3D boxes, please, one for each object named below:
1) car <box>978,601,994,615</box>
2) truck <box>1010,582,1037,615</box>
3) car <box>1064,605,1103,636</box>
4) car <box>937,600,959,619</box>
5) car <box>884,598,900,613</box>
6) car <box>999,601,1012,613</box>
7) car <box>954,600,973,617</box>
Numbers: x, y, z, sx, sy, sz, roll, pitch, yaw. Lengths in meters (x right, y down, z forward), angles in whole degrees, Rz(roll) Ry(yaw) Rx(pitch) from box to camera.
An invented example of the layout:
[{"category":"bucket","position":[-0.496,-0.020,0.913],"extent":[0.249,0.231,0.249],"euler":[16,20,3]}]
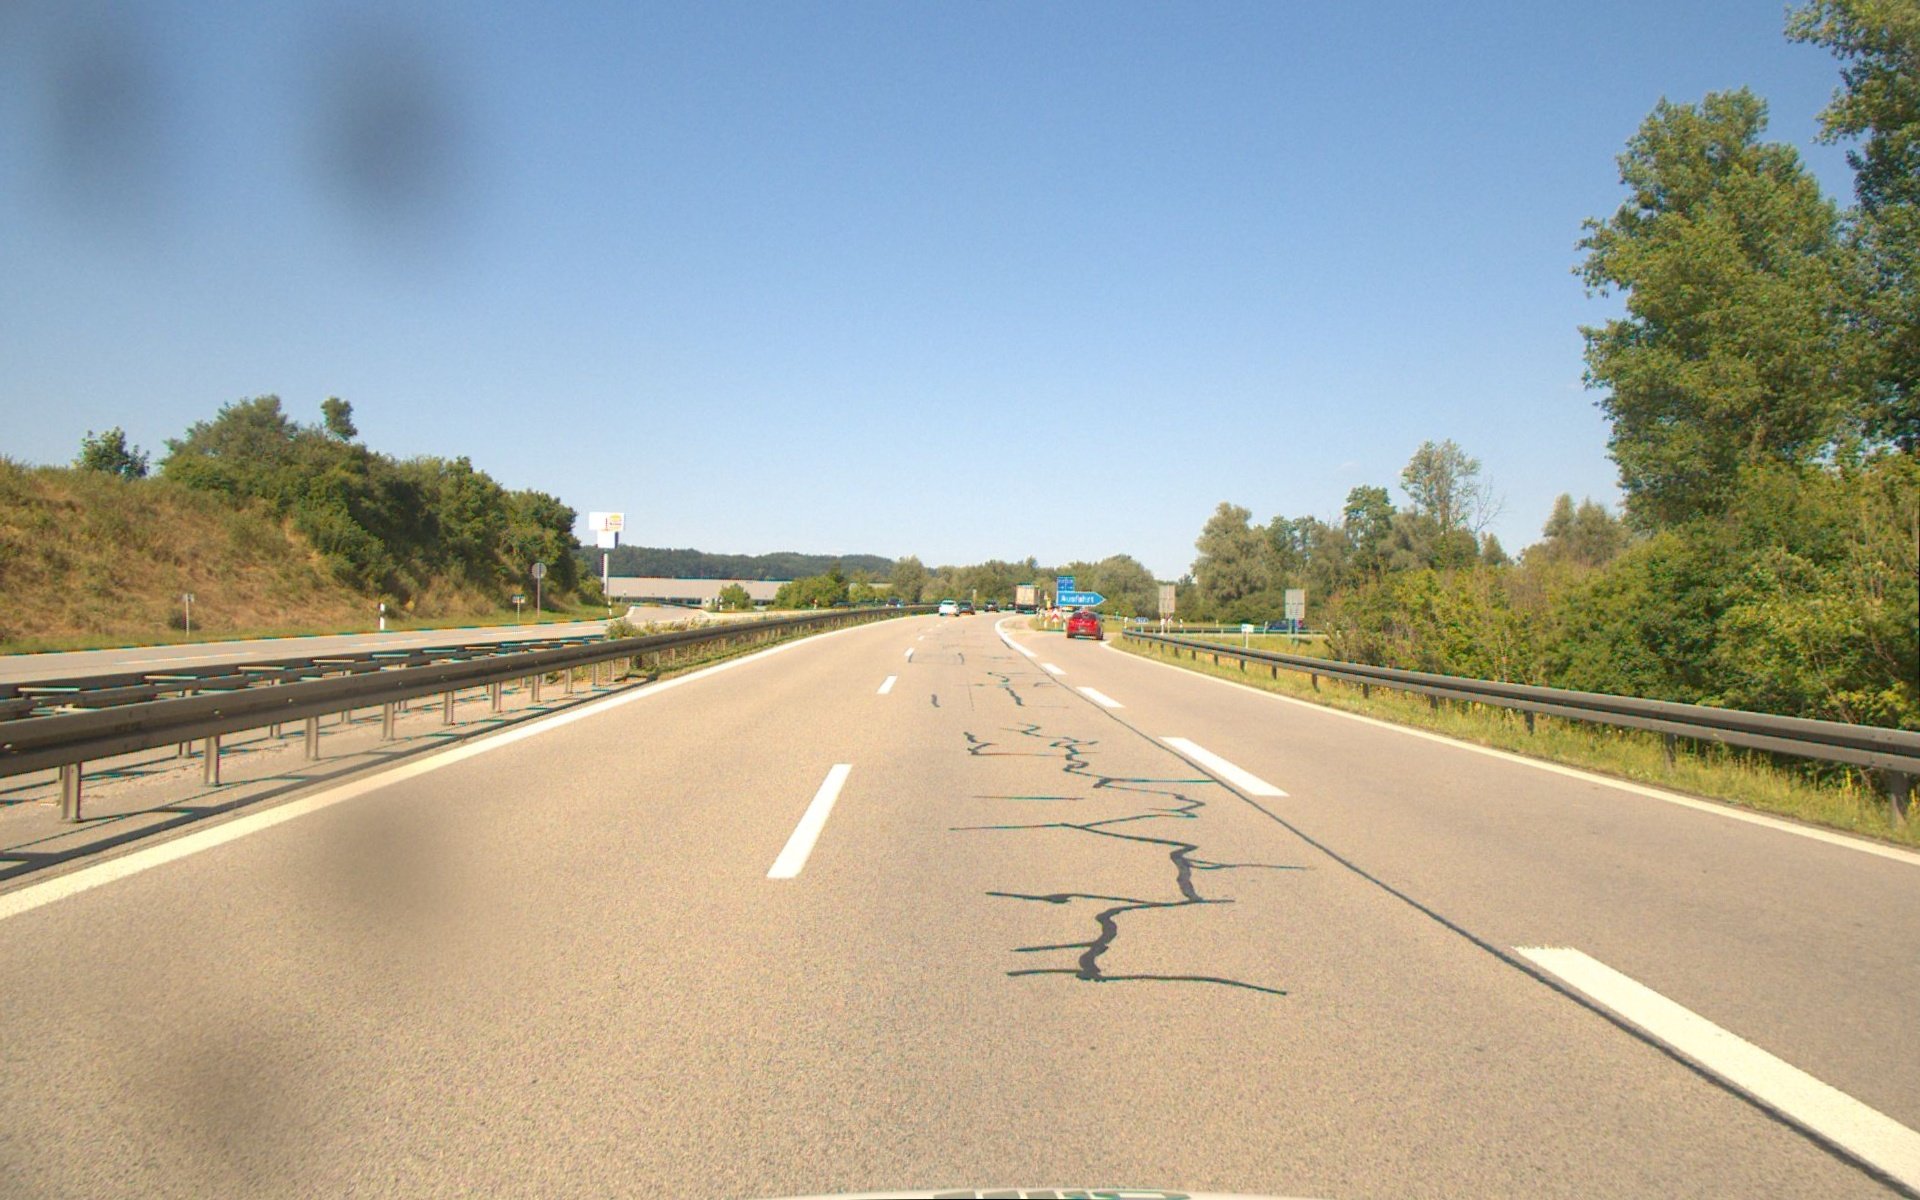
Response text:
[{"category":"car","position":[3.467,1.057,221.124],"extent":[1.953,1.780,3.999],"euler":[1,0,-1]},{"category":"truck","position":[8.926,-0.239,232.316],"extent":[3.758,4.474,11.474],"euler":[0,0,2]},{"category":"car","position":[6.498,1.098,86.735],"extent":[1.746,1.456,4.003],"euler":[4,-1,8]},{"category":"car","position":[-1.145,0.907,156.415],"extent":[2.020,1.653,3.999],"euler":[0,-2,-1]},{"category":"car","position":[-8.104,0.640,197.253],"extent":[1.841,1.653,3.999],"euler":[0,-2,-1]},{"category":"car","position":[6.881,1.023,250.865],"extent":[1.952,1.780,4.001],"euler":[1,0,2]},{"category":"car","position":[0.368,0.862,178.625],"extent":[1.953,1.780,3.999],"euler":[1,0,-1]}]
